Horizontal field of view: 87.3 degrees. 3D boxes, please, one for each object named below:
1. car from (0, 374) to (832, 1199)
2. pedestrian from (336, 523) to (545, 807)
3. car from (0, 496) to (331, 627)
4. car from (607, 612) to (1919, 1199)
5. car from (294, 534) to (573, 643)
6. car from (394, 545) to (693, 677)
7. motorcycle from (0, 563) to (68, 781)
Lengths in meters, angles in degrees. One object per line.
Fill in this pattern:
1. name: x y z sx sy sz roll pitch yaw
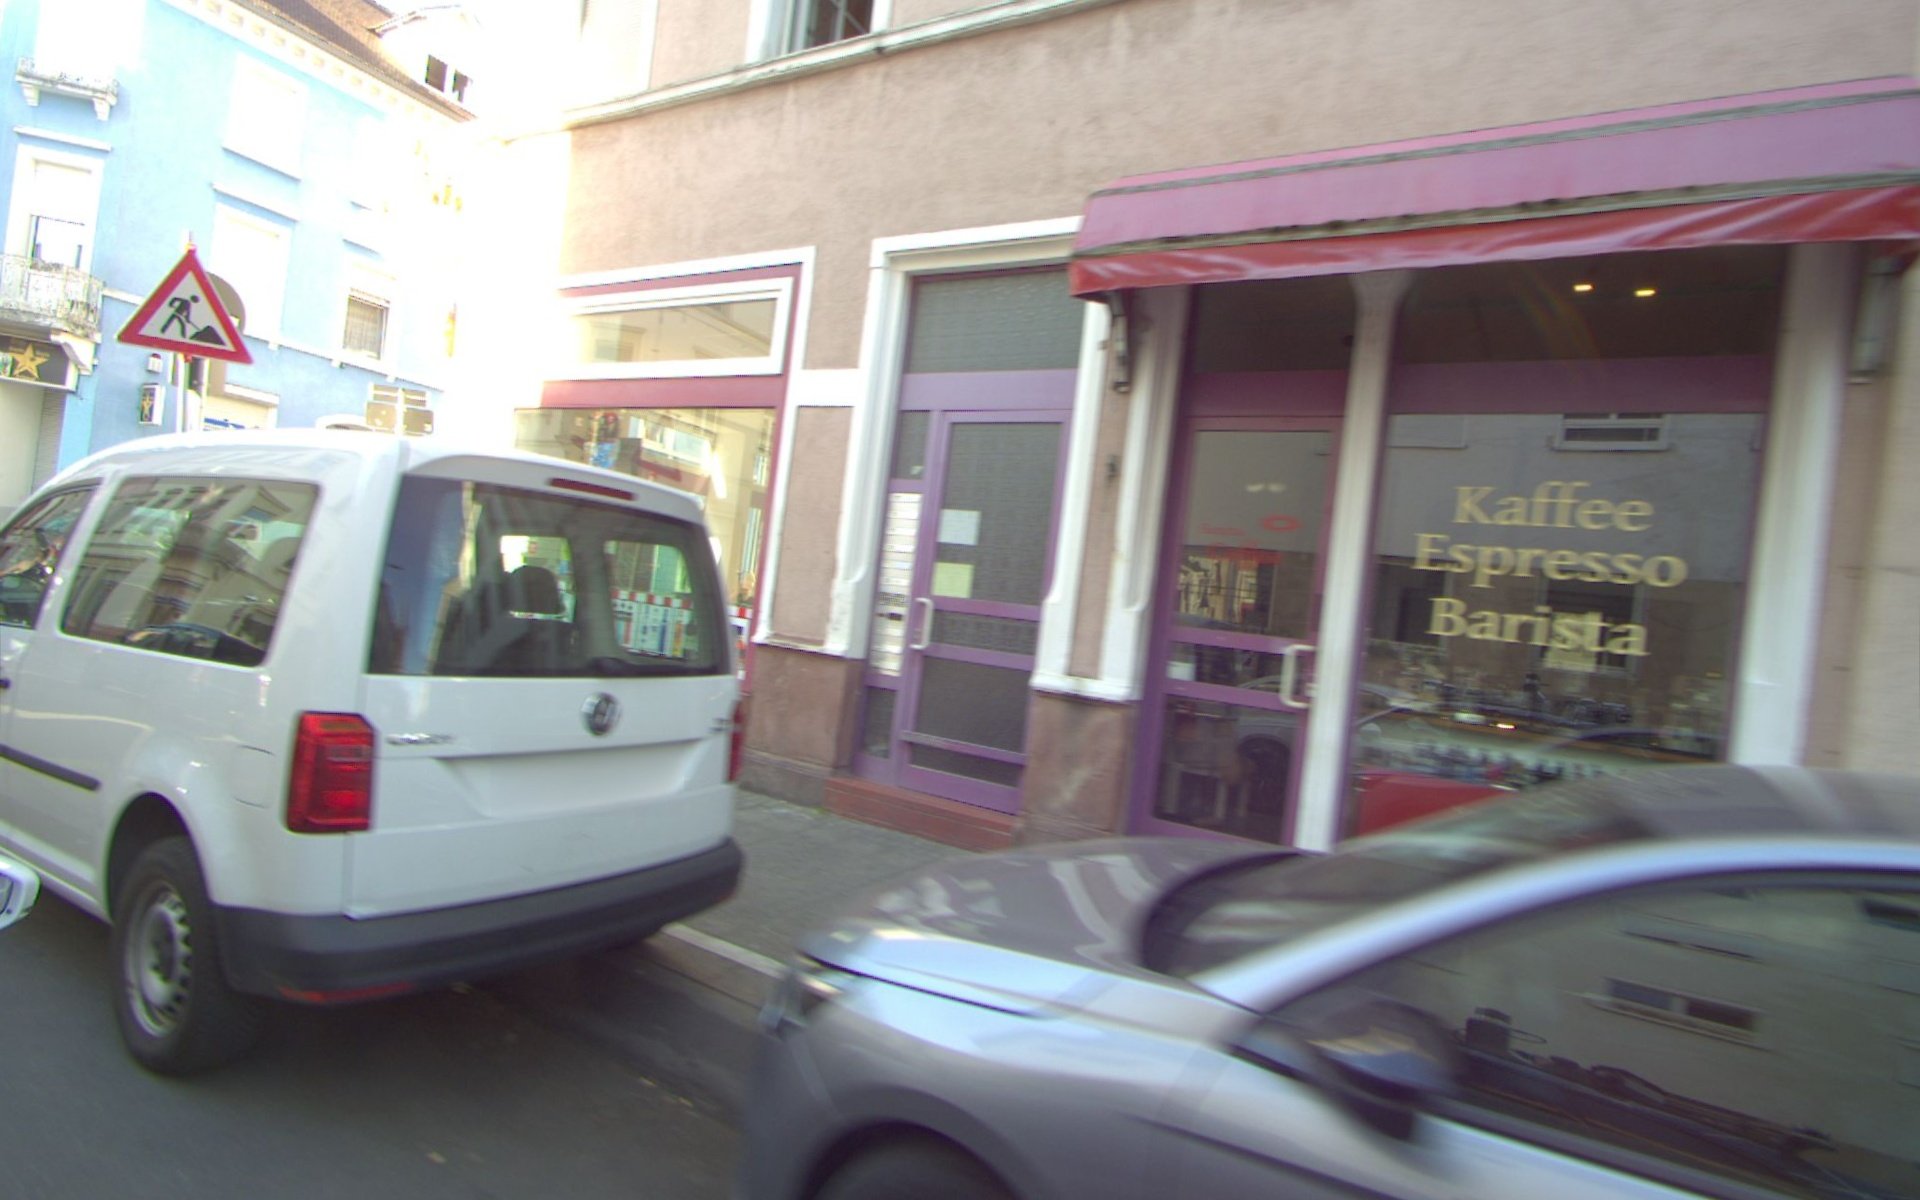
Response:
1. car: -2.824 0.282 4.101 4.298 1.839 1.750 6 0 32
2. pedestrian: -3.686 0.426 7.153 0.974 1.816 0.826 6 2 32
3. car: -12.624 -0.536 16.125 1.649 1.470 3.874 7 -2 32
4. car: 1.356 0.960 1.713 3.817 1.426 1.610 6 0 32
5. car: -10.196 -0.149 19.828 1.728 1.451 4.476 9 -1 34
6. car: -6.564 0.258 16.296 1.826 1.650 4.066 4 -3 32
7. motorcycle: -5.973 0.335 5.971 1.970 1.098 0.718 6 -4 43
